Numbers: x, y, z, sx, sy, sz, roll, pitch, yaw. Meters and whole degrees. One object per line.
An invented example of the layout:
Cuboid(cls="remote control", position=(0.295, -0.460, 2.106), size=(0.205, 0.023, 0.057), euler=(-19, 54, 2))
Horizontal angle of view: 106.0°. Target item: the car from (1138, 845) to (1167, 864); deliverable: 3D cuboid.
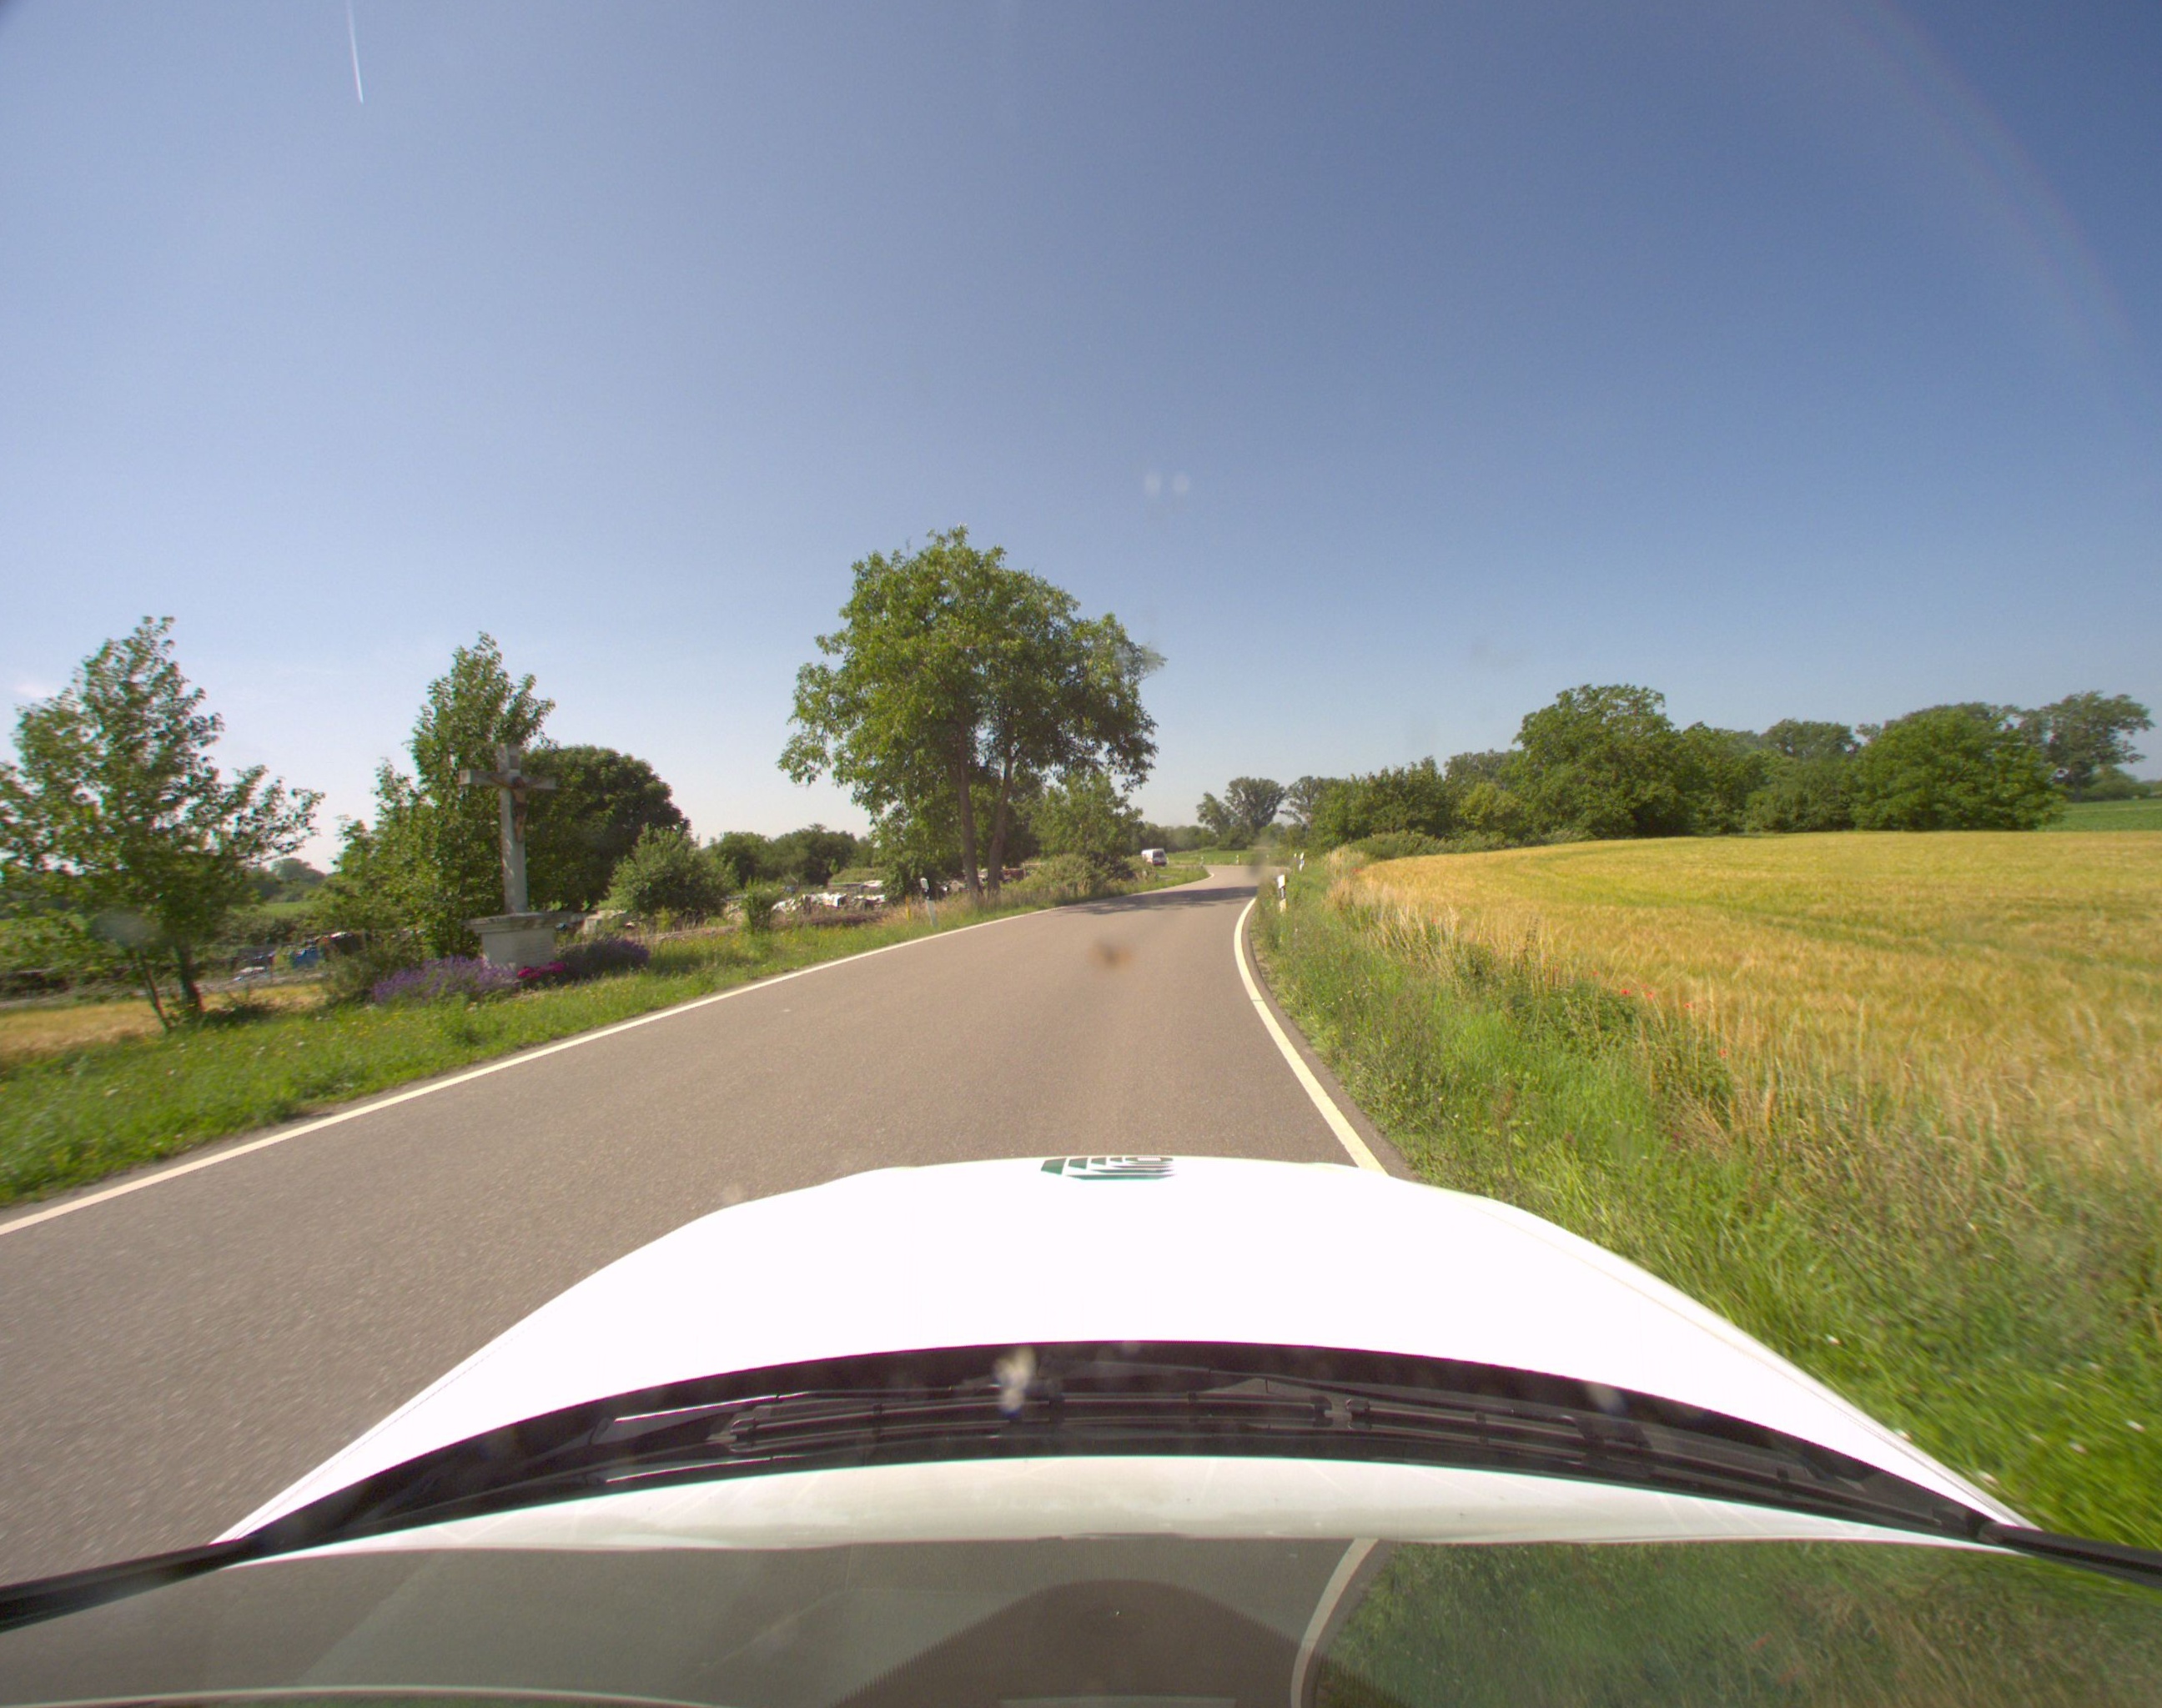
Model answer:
Cuboid(cls="car", position=(9.713, 0.105, 111.076), size=(2.107, 2.367, 5.660), euler=(-3, 0, -14))
